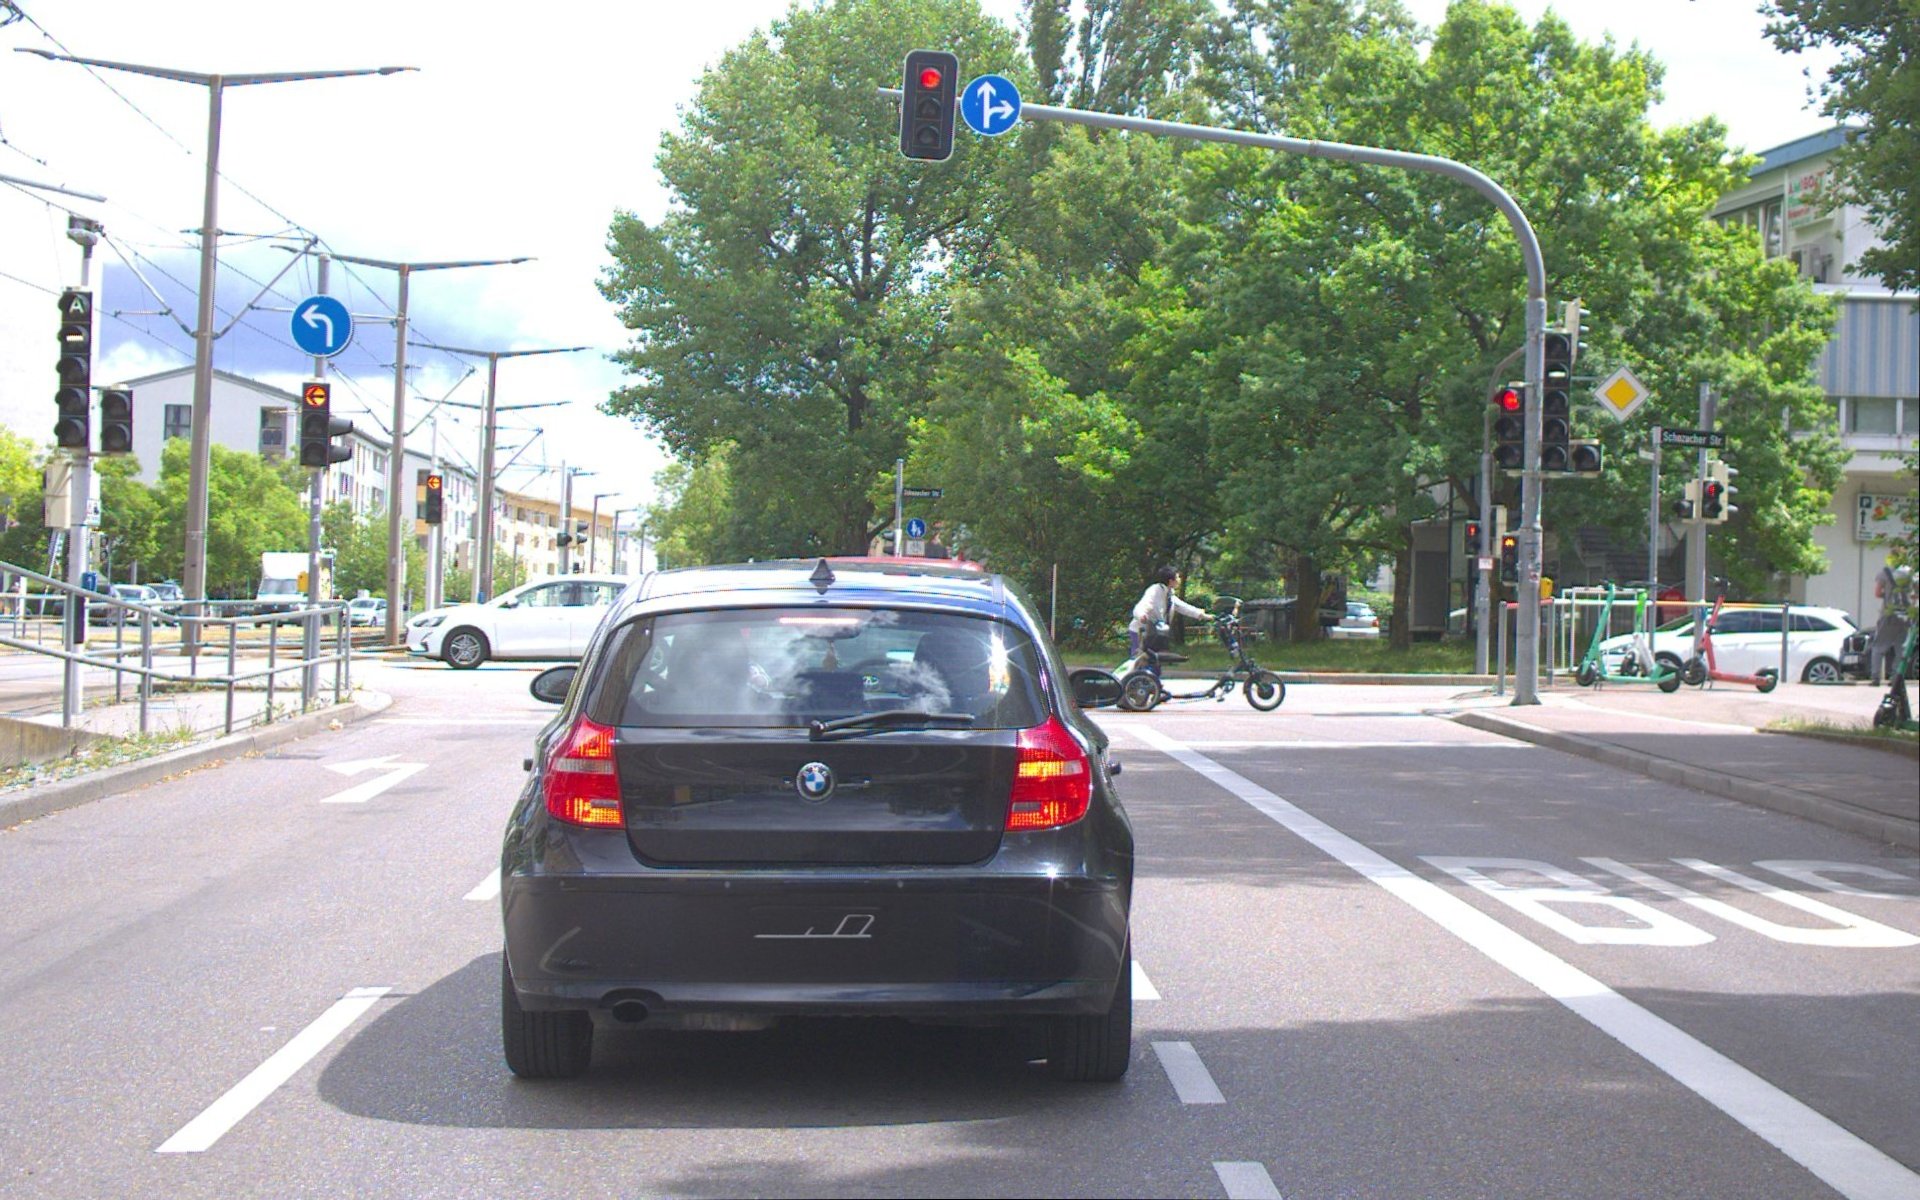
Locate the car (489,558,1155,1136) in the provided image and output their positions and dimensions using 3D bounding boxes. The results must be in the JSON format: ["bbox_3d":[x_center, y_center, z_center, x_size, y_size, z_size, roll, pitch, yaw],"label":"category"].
[{"bbox_3d":[-0.315,0.597,10.374,1.654,1.414,3.517,1,1,1],"label":"car"}]

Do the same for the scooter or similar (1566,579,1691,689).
[{"bbox_3d":[7.237,0.365,37.219,1.287,1.185,0.385,0,1,-16],"label":"scooter or similar"}]

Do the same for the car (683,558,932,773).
[{"bbox_3d":[-1.095,0.418,24.863,1.654,1.414,3.517,1,1,-2],"label":"car"}]

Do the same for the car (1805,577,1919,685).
[{"bbox_3d":[14.957,0.475,52.497,3.576,1.595,1.712,1,0,-12],"label":"car"}]

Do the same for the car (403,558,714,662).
[{"bbox_3d":[-6.142,0.146,52.403,4.571,1.521,1.945,0,1,-11],"label":"car"}]

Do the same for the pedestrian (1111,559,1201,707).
[{"bbox_3d":[1.936,0.318,33.950,0.865,1.438,0.798,1,1,3],"label":"pedestrian"}]

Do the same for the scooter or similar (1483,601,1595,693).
[{"bbox_3d":[6.064,0.491,36.008,1.119,0.954,0.300,0,1,-16],"label":"scooter or similar"}]

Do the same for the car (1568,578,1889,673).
[{"bbox_3d":[12.379,0.405,55.536,4.638,1.475,2.000,0,1,-7],"label":"car"}]

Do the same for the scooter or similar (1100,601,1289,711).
[{"bbox_3d":[2.287,0.546,33.516,1.780,1.047,0.410,1,1,-7],"label":"scooter or similar"}]

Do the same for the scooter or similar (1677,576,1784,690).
[{"bbox_3d":[8.525,0.367,38.052,1.106,1.253,0.332,0,1,-12],"label":"scooter or similar"}]

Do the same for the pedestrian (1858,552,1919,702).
[{"bbox_3d":[11.370,0.331,41.981,0.614,1.784,0.568,5,1,18],"label":"pedestrian"}]

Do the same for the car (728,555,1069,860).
[{"bbox_3d":[-0.290,0.484,17.986,1.594,1.414,3.517,1,1,0],"label":"car"}]

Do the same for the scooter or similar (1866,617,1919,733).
[{"bbox_3d":[9.241,0.714,32.847,1.148,1.095,0.332,1,1,-24],"label":"scooter or similar"}]

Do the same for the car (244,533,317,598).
[{"bbox_3d":[-28.308,-1.467,143.419,2.139,2.631,5.359,1,1,-2],"label":"car"}]
